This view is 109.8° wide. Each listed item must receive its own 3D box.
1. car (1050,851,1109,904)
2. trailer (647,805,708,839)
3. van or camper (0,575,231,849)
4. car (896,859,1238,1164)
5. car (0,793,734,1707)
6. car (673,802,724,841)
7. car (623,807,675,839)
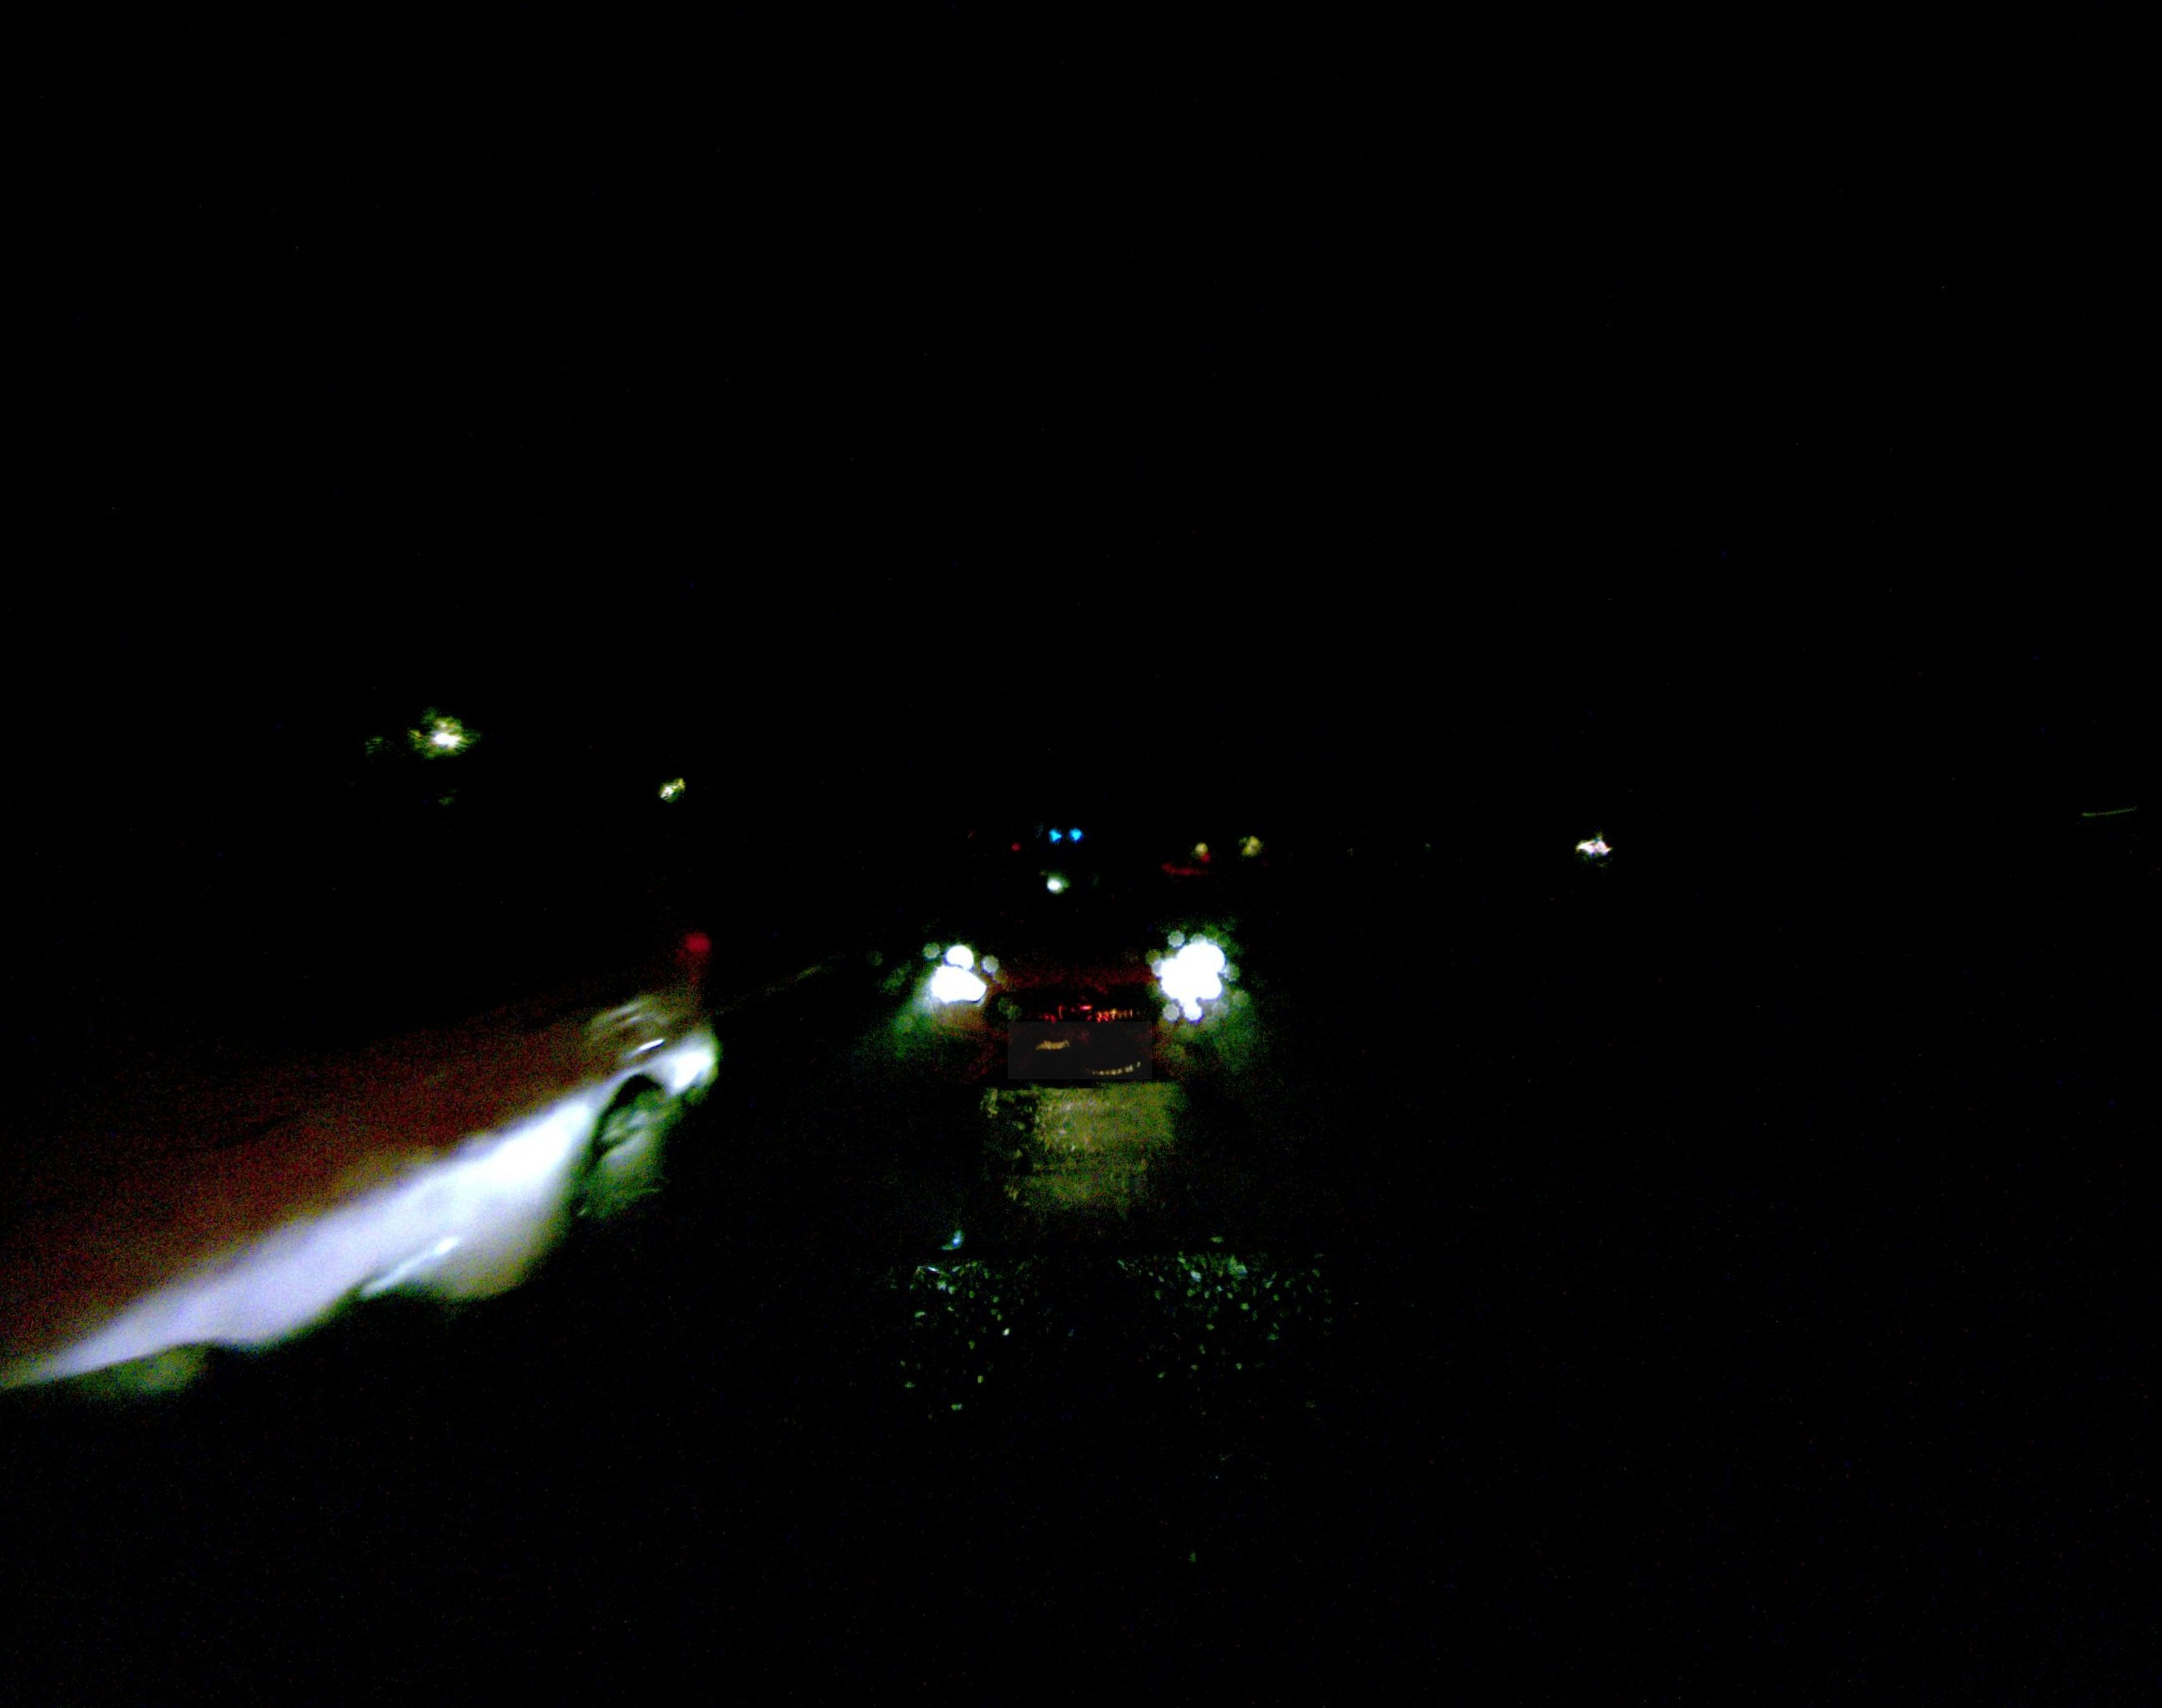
[{"bbox_3d":[-0.093,0.700,23.424,1.625,1.477,3.785,-1,-1,-2],"label":"car"},{"bbox_3d":[-26.688,-2.071,50.496,2.234,2.060,5.713,-1,1,-14],"label":"trailer"},{"bbox_3d":[-12.904,-1.547,7.888,2.591,2.891,6.348,-1,0,-19],"label":"van or camper"},{"bbox_3d":[-0.101,0.861,6.463,1.810,1.590,4.786,-1,0,-1],"label":"car"},{"bbox_3d":[-2.599,0.836,1.225,1.759,1.807,4.710,-2,0,1],"label":"car"},{"bbox_3d":[-28.056,-2.330,55.911,2.122,2.620,5.443,-1,1,-14],"label":"car"},{"bbox_3d":[-24.538,-1.742,43.295,1.619,1.630,3.994,-2,1,-16],"label":"car"}]
